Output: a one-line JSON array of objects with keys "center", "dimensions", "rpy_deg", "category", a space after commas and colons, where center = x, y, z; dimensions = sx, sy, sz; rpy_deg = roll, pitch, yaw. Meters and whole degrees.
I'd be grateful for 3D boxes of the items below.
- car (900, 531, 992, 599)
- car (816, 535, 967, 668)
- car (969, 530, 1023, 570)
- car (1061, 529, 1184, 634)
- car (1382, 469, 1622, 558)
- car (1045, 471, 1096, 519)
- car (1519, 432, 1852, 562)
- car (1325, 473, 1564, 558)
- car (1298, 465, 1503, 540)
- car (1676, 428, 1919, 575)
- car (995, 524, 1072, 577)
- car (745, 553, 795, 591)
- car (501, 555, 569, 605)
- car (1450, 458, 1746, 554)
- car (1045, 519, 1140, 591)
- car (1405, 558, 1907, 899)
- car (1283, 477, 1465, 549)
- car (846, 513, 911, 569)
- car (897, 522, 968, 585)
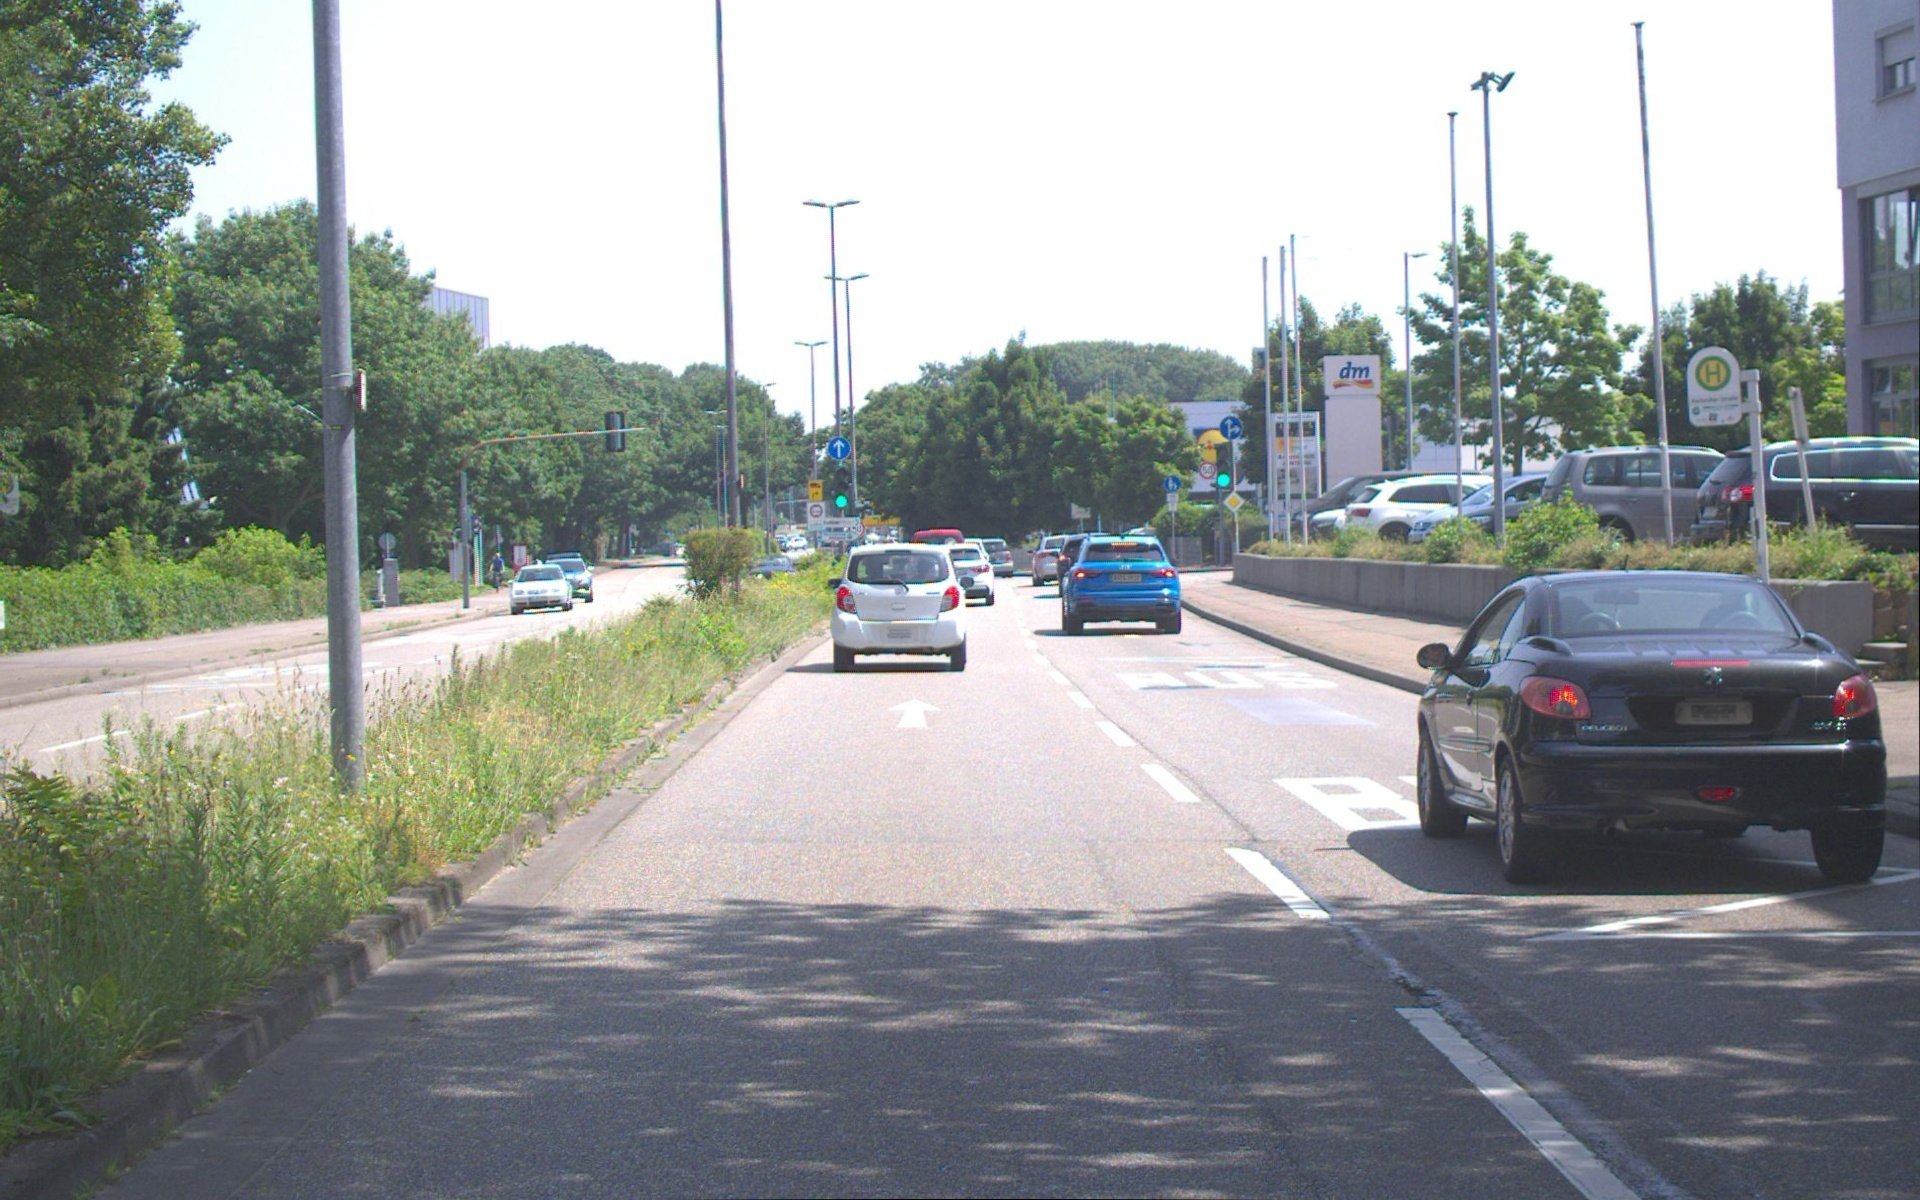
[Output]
[{"center": [-0.345, -0.810, 78.039], "dimensions": [1.993, 1.437, 4.000], "rpy_deg": [-2, 1, -1], "category": "car"}, {"center": [-0.800, -0.017, 42.468], "dimensions": [1.748, 1.515, 3.746], "rpy_deg": [0, 2, 1], "category": "car"}, {"center": [1.419, -2.022, 138.198], "dimensions": [1.993, 1.503, 4.000], "rpy_deg": [-2, 1, -1], "category": "car"}, {"center": [2.620, -0.334, 56.241], "dimensions": [1.828, 1.574, 3.606], "rpy_deg": [-1, 2, 0], "category": "car"}, {"center": [9.897, -1.585, 62.807], "dimensions": [3.920, 1.447, 1.765], "rpy_deg": [-3, 1, -22], "category": "car"}, {"center": [4.823, -4.573, 150.325], "dimensions": [1.769, 2.006, 3.992], "rpy_deg": [-2, 2, -4], "category": "car"}, {"center": [10.268, -1.449, 48.843], "dimensions": [4.226, 1.641, 2.000], "rpy_deg": [-2, 1, -1], "category": "car"}, {"center": [9.914, -1.729, 70.596], "dimensions": [4.535, 1.539, 2.000], "rpy_deg": [-2, 1, -1], "category": "car"}, {"center": [10.130, -2.233, 79.280], "dimensions": [4.346, 1.539, 2.000], "rpy_deg": [-2, 1, -2], "category": "car"}, {"center": [10.849, -1.181, 40.114], "dimensions": [4.499, 1.577, 2.000], "rpy_deg": [-2, 1, -1], "category": "car"}, {"center": [2.093, -1.442, 98.721], "dimensions": [1.993, 1.415, 4.000], "rpy_deg": [-2, 1, -1], "category": "car"}, {"center": [-6.721, -1.002, 121.450], "dimensions": [1.573, 1.264, 3.731], "rpy_deg": [-2, 1, -6], "category": "car"}, {"center": [-12.719, -0.623, 103.067], "dimensions": [1.736, 1.408, 4.372], "rpy_deg": [-2, 1, -3], "category": "car"}, {"center": [10.291, -1.516, 55.671], "dimensions": [4.319, 1.364, 2.000], "rpy_deg": [-2, 1, -2], "category": "car"}, {"center": [3.153, -1.092, 82.466], "dimensions": [1.993, 1.634, 4.000], "rpy_deg": [-2, 1, -1], "category": "car"}, {"center": [3.164, 0.521, 16.286], "dimensions": [1.627, 1.359, 3.606], "rpy_deg": [0, 2, 0], "category": "car"}, {"center": [9.834, -2.058, 81.869], "dimensions": [3.986, 1.539, 2.000], "rpy_deg": [-2, 1, -2], "category": "car"}, {"center": [-2.662, -1.928, 111.148], "dimensions": [1.819, 1.656, 4.001], "rpy_deg": [-2, 2, -5], "category": "car"}, {"center": [-0.816, -1.341, 99.072], "dimensions": [1.775, 1.734, 4.001], "rpy_deg": [-2, 1, -4], "category": "car"}]
